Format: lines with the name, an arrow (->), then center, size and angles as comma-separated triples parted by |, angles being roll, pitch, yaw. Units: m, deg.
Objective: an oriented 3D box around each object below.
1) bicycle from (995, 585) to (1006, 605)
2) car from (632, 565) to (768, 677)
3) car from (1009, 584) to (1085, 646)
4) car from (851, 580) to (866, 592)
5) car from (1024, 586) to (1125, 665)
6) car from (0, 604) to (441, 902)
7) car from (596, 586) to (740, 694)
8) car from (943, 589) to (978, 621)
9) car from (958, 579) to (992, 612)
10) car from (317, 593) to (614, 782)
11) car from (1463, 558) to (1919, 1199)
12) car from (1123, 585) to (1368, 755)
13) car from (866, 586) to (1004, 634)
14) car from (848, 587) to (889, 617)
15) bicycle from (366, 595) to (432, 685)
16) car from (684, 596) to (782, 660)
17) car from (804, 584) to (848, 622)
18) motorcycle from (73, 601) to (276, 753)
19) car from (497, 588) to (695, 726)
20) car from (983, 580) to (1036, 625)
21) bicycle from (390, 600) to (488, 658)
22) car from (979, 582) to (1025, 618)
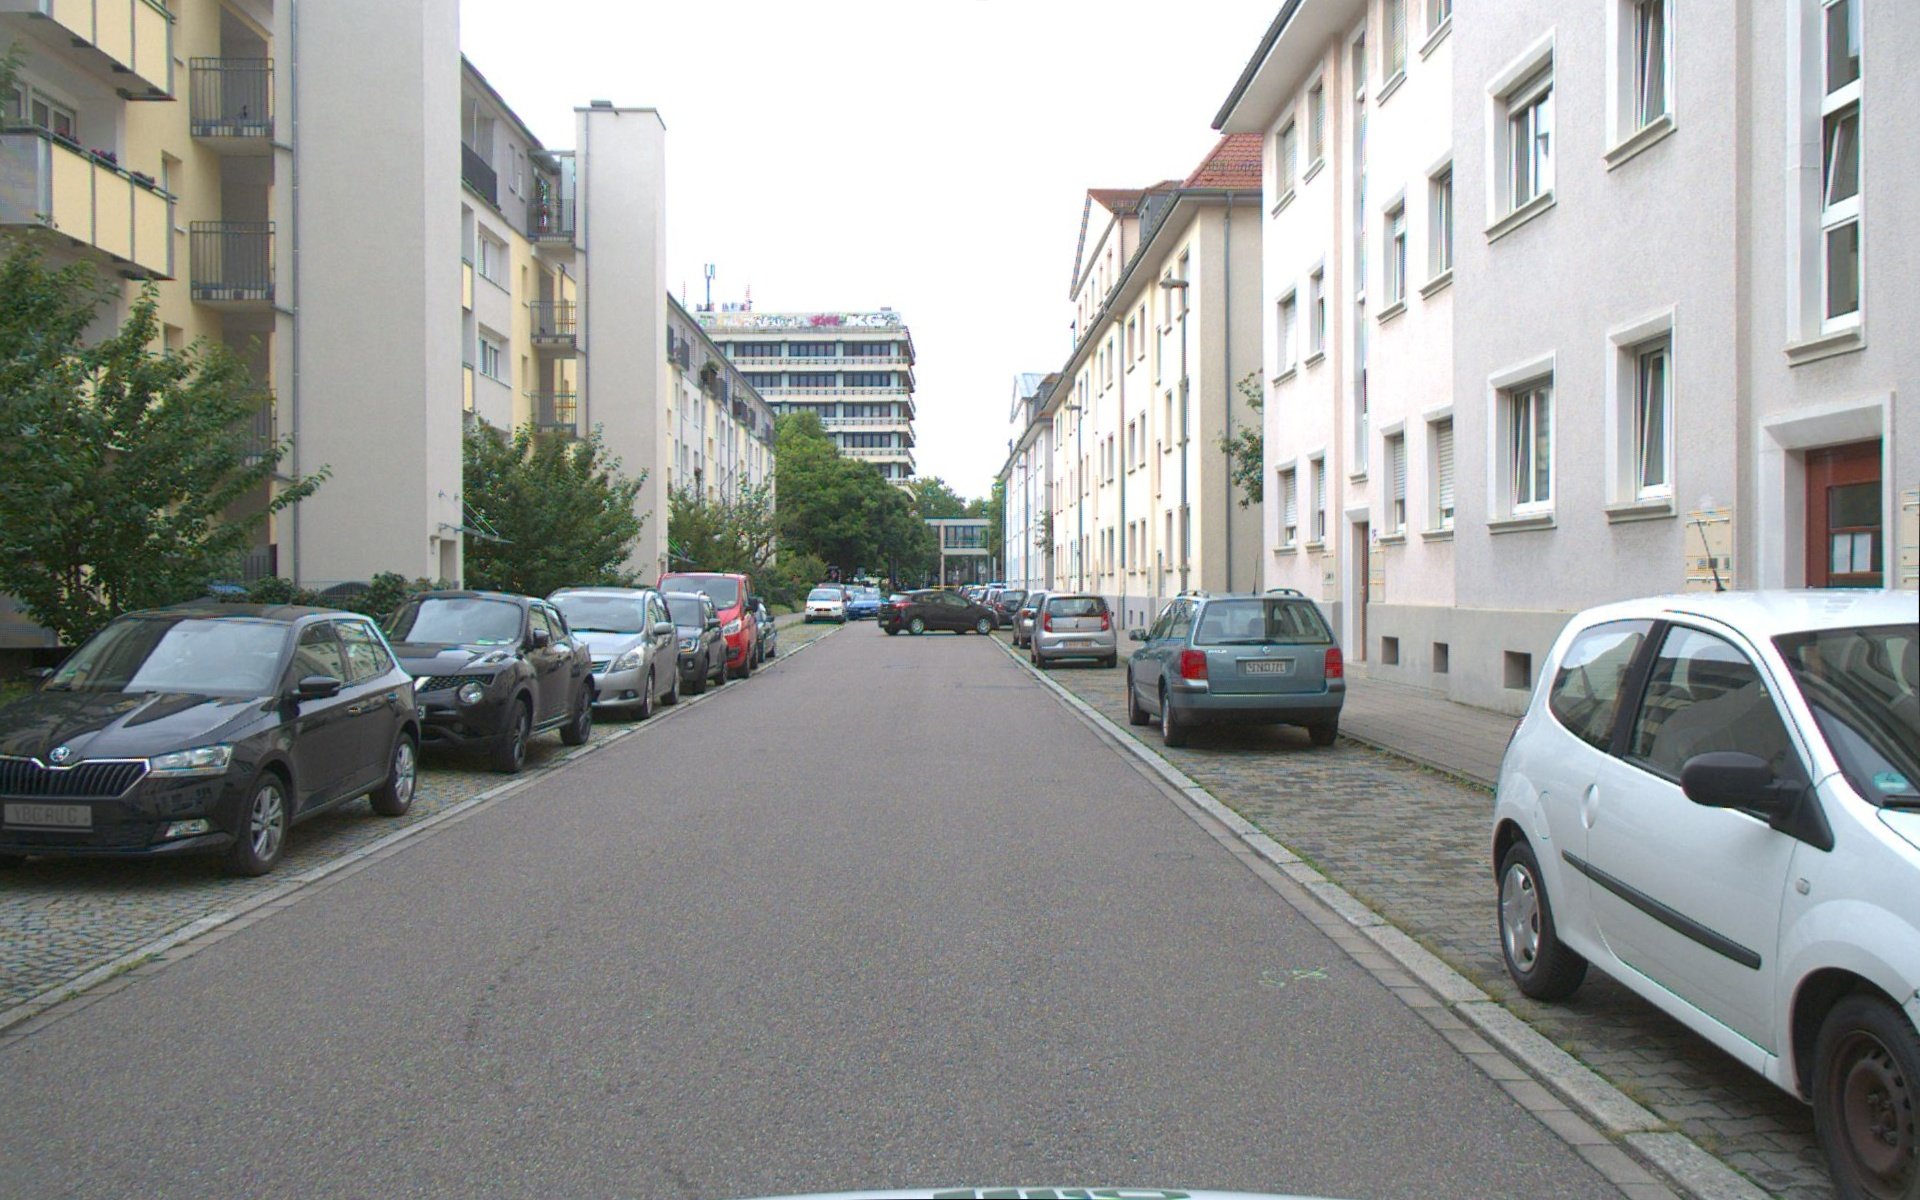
bicycle -> 2.563, -0.310, 105.021 | 0.519, 1.196, 2.038 | -2, 1, 5
car -> -4.992, 0.363, 32.429 | 2.109, 1.988, 4.919 | 1, 0, -3
car -> 2.286, 0.360, 44.134 | 1.690, 1.544, 4.060 | -1, 1, -1
car -> -11.845, -1.612, 192.608 | 1.632, 1.356, 3.395 | 0, 1, -1
car -> 2.282, 0.470, 33.876 | 1.690, 1.518, 4.059 | 0, 0, -1
car -> -4.670, 0.795, 10.437 | 1.610, 1.463, 3.856 | 1, 0, -1
car -> -4.710, 0.593, 27.189 | 1.686, 1.597, 4.053 | 1, 0, -1
car -> -0.007, 0.219, 81.903 | 1.690, 1.502, 4.504 | 0, 1, -1
car -> 0.780, -0.258, 89.987 | 1.783, 1.671, 4.091 | -1, 1, 0
car -> -4.611, 0.734, 16.010 | 1.619, 1.557, 3.895 | 1, 0, 1
car -> 3.009, 0.685, 5.068 | 1.747, 1.627, 3.804 | -1, 1, 0
car -> 2.818, 0.618, 17.230 | 1.690, 1.494, 4.263 | -1, 1, -1
car -> -0.796, 0.303, 54.197 | 4.183, 1.458, 1.886 | -1, 1, -35
car -> -4.644, 0.085, 84.453 | 1.807, 1.476, 4.501 | 0, 1, 0
bicycle -> -7.927, 0.544, 23.407 | 0.541, 1.212, 1.725 | -2, 0, -8
car -> -5.210, 0.606, 38.484 | 1.832, 1.346, 4.360 | 1, 0, -2
car -> -5.912, 0.128, 73.111 | 1.686, 1.597, 3.869 | 1, 0, -1
motorcycle -> -7.577, 0.694, 16.115 | 0.851, 1.329, 2.419 | 1, 1, -1
car -> -4.704, 0.659, 22.031 | 1.798, 1.597, 4.858 | 1, 0, -3
car -> 1.764, 0.069, 60.536 | 1.690, 1.544, 4.060 | -1, 1, -1
bicycle -> -10.493, 0.581, 33.345 | 1.798, 1.138, 0.604 | 0, 0, -3
car -> 1.764, -0.011, 70.993 | 1.811, 1.475, 3.832 | -1, 1, -1
